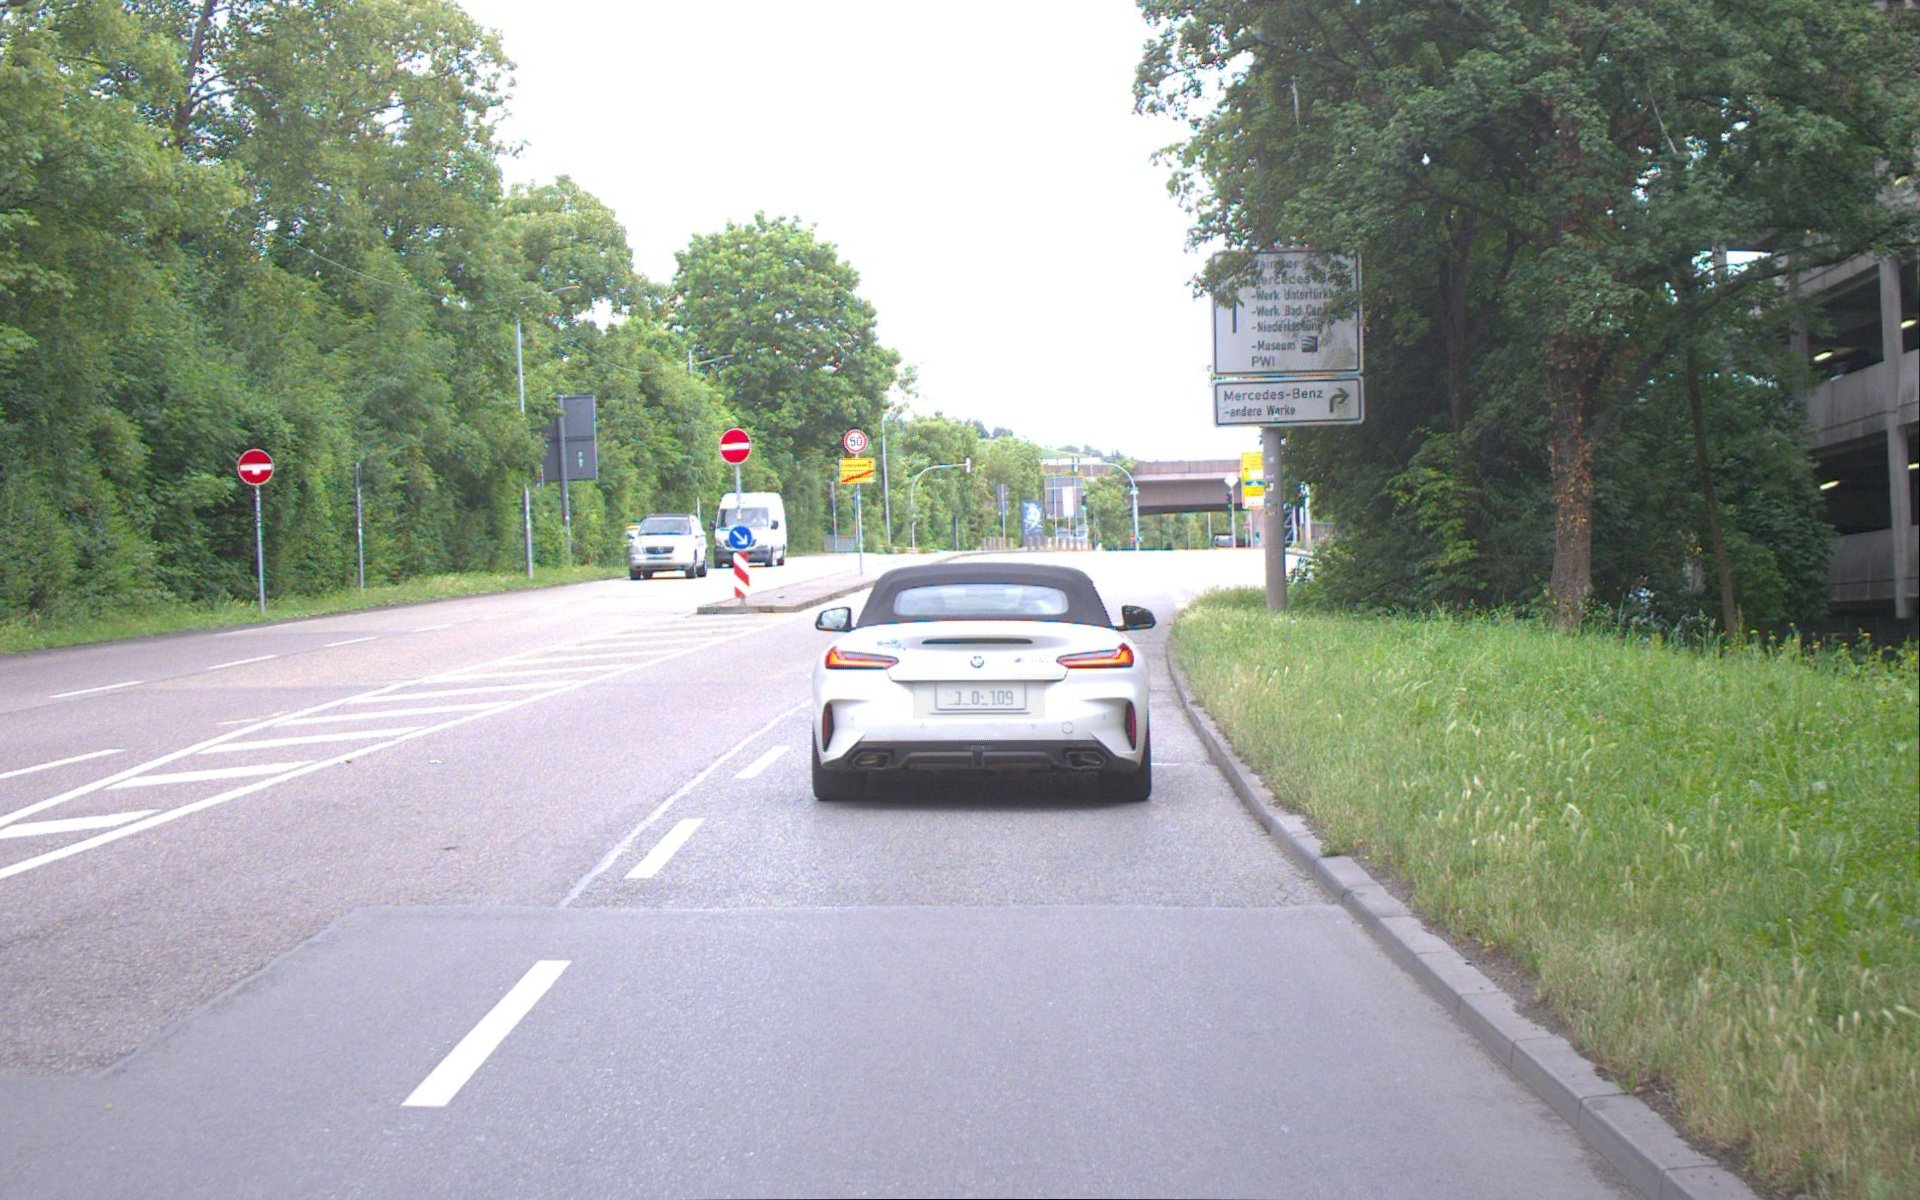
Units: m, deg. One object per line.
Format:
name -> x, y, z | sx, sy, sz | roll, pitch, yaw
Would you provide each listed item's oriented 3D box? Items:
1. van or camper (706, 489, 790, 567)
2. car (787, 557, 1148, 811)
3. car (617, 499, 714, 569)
van or camper -> -7.296, -2.441, 118.766 | 2.283, 2.546, 6.859 | 0, 0, 2
car -> 0.078, 0.418, 19.966 | 1.875, 1.305, 3.873 | 1, 1, 1
car -> -8.168, -1.865, 95.693 | 1.813, 1.824, 4.383 | -1, 2, 6
